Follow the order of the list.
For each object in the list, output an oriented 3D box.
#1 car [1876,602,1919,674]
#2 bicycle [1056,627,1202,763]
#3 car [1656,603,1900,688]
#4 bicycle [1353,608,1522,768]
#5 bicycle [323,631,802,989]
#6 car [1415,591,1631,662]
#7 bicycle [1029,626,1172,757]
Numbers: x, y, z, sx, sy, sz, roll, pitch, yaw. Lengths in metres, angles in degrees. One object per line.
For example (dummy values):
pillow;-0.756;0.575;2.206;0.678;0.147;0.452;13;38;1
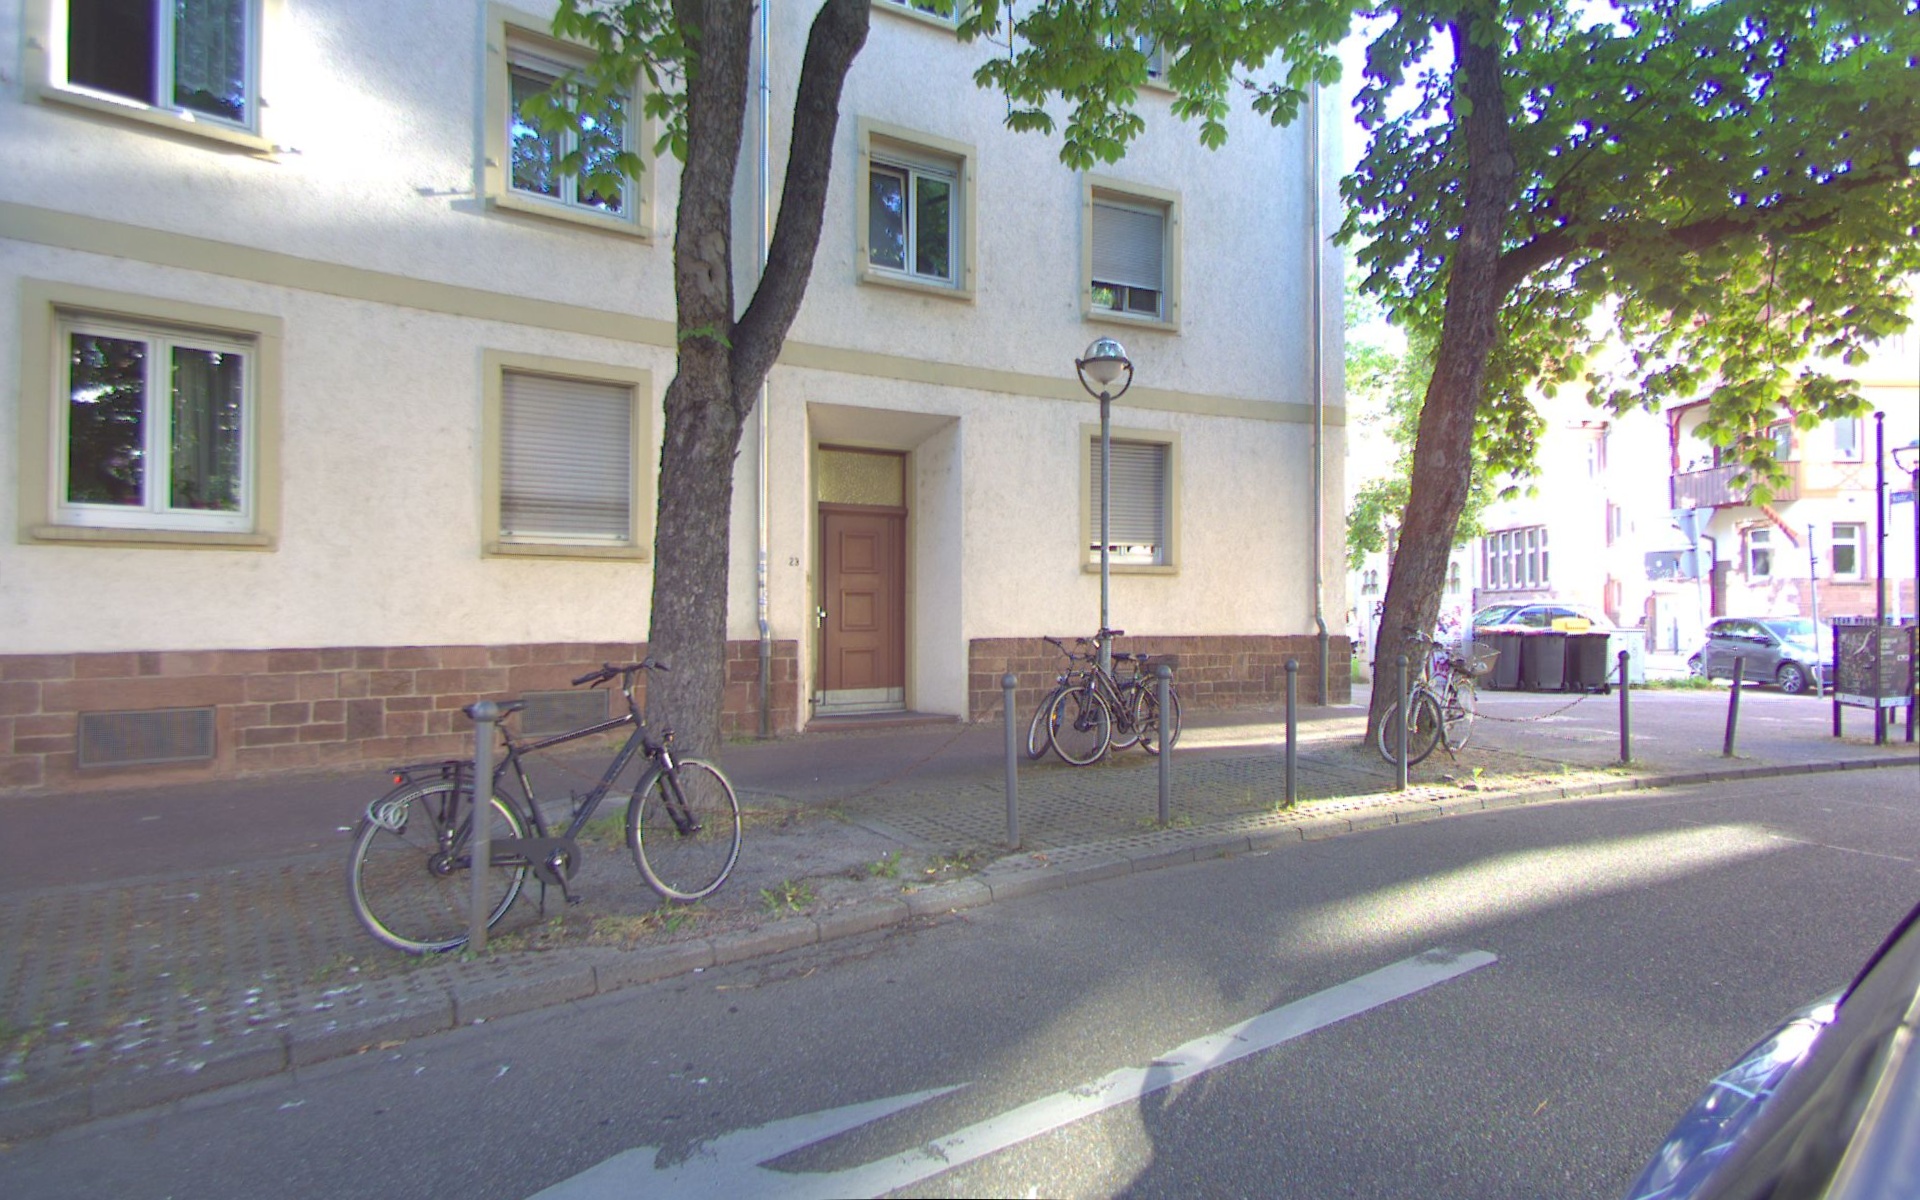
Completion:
car;21.630;0.837;21.411;1.463;1.559;3.217;1;0;-3
bicycle;1.550;0.811;9.101;1.607;1.108;0.334;0;-1;-41
car;16.772;0.878;21.055;1.663;1.572;4.052;-1;-1;-2
bicycle;4.416;0.733;9.293;1.871;1.321;0.766;0;-1;-43
bicycle;-1.695;0.782;4.554;1.882;1.238;0.718;0;-1;-43
car;12.005;0.549;21.713;3.728;1.443;1.677;0;-1;-5
bicycle;1.339;0.809;9.432;1.607;1.108;0.334;0;-1;-41
